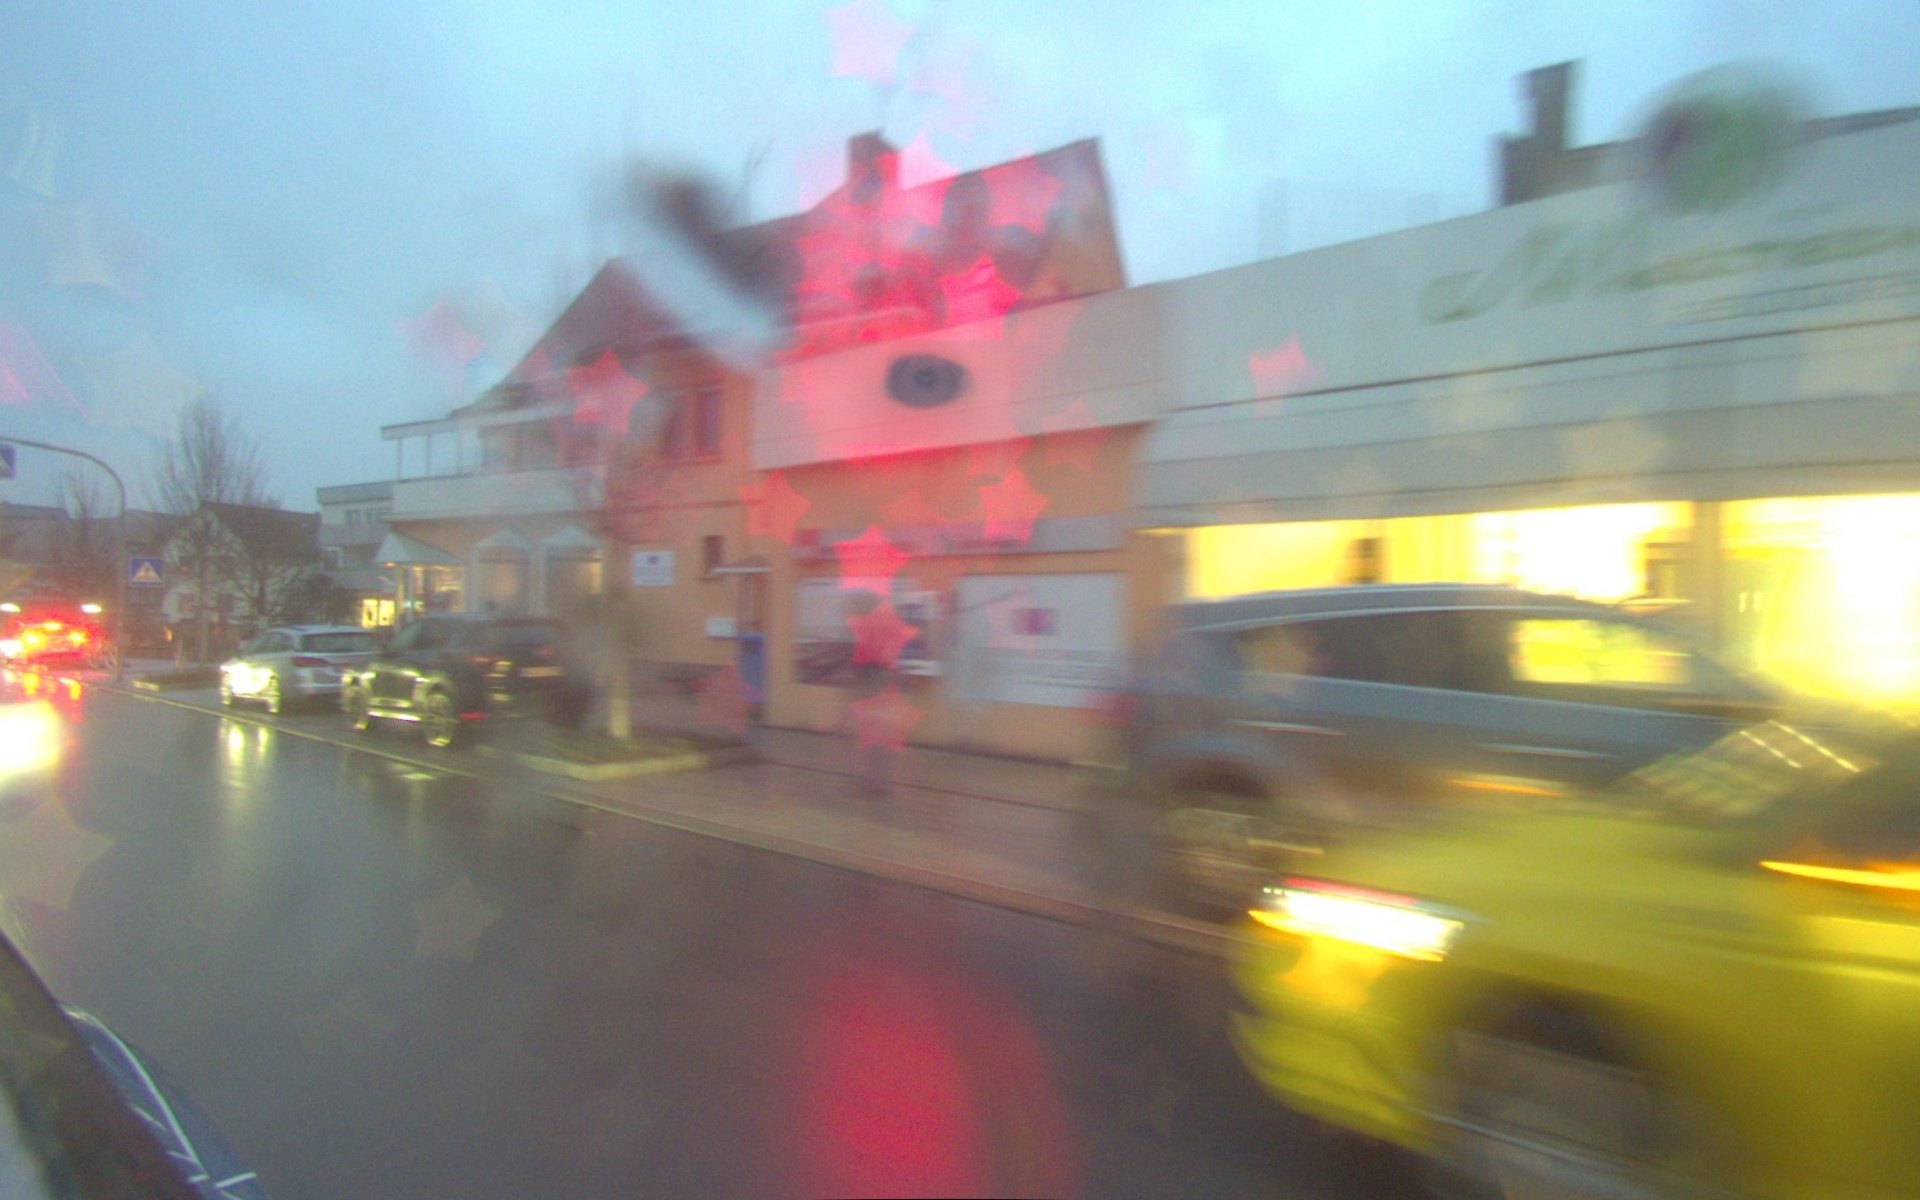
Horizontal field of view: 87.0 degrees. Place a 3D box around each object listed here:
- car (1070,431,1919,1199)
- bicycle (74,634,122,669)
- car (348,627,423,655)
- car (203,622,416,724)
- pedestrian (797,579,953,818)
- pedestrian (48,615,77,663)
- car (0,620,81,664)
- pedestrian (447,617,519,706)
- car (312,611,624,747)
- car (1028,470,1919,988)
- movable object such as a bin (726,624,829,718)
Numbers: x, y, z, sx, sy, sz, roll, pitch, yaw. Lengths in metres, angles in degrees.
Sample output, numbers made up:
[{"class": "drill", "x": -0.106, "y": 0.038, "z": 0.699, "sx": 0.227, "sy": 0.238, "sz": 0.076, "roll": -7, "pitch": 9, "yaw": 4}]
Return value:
[{"class": "car", "x": 2.887, "y": 0.512, "z": 2.067, "sx": 4.959, "sy": 1.718, "sz": 1.975, "roll": -3, "pitch": 0, "yaw": 38}, {"class": "bicycle", "x": -27.121, "y": 1.633, "z": 31.835, "sx": 1.733, "sy": 1.070, "sz": 0.322, "roll": -2, "pitch": -7, "yaw": 23}, {"class": "car", "x": -32.921, "y": 2.332, "z": 57.941, "sx": 3.984, "sy": 1.576, "sz": 1.980, "roll": -1, "pitch": -2, "yaw": 30}, {"class": "car", "x": -11.823, "y": 1.206, "z": 18.267, "sx": 4.617, "sy": 1.570, "sz": 1.973, "roll": -1, "pitch": 0, "yaw": 40}, {"class": "pedestrian", "x": -0.733, "y": 0.798, "z": 8.673, "sx": 0.995, "sy": 1.890, "sz": 0.945, "roll": 2, "pitch": -2, "yaw": -33}, {"class": "pedestrian", "x": -38.628, "y": 1.669, "z": 43.571, "sx": 0.890, "sy": 2.029, "sz": 0.791, "roll": 1, "pitch": -2, "yaw": -43}, {"class": "car", "x": -34.315, "y": 1.528, "z": 37.587, "sx": 4.176, "sy": 1.500, "sz": 1.767, "roll": -1, "pitch": 0, "yaw": 38}, {"class": "pedestrian", "x": -9.326, "y": 1.177, "z": 19.784, "sx": 1.094, "sy": 1.671, "sz": 0.820, "roll": -1, "pitch": 0, "yaw": 33}, {"class": "car", "x": -6.835, "y": 0.933, "z": 13.798, "sx": 4.974, "sy": 1.534, "sz": 1.973, "roll": -1, "pitch": -1, "yaw": 40}, {"class": "car", "x": 3.016, "y": 0.476, "z": 5.046, "sx": 5.013, "sy": 1.806, "sz": 2.068, "roll": -2, "pitch": -1, "yaw": 36}, {"class": "movable object such as a bin", "x": -2.805, "y": 1.094, "z": 15.694, "sx": 0.885, "sy": 1.364, "sz": 1.331, "roll": 0, "pitch": -4, "yaw": 30}]
